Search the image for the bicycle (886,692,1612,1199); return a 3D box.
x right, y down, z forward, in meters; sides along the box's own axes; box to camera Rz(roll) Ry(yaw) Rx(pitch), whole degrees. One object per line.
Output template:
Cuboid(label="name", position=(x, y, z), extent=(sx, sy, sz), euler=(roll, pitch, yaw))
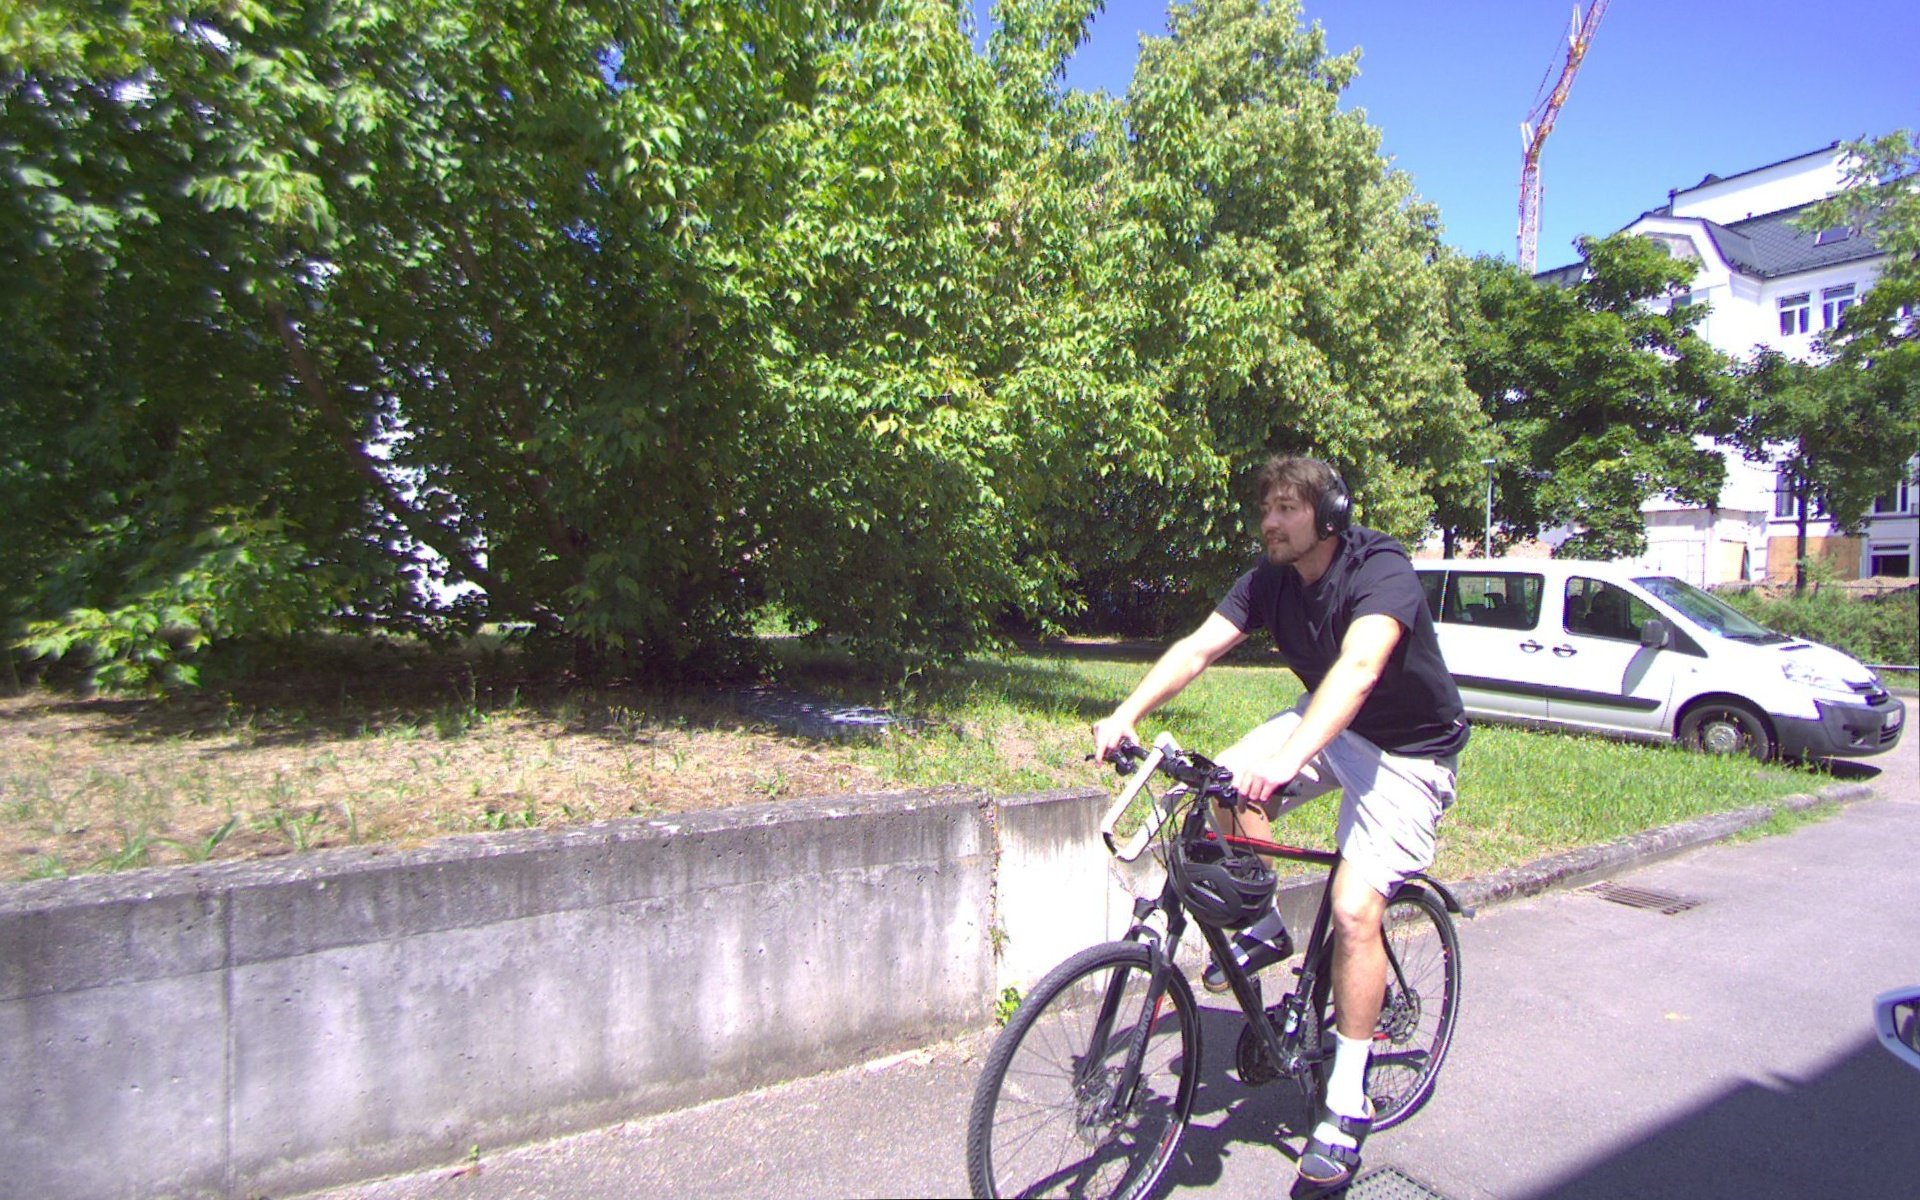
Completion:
Cuboid(label="bicycle", position=(0.799, 0.895, 2.489), extent=(1.884, 1.190, 0.640), euler=(0, 1, -33))

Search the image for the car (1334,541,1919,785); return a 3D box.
Cuboid(label="car", position=(6.593, 0.482, 10.479), extent=(1.981, 1.937, 4.754), euler=(0, 0, -36))

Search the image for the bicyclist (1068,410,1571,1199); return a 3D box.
Cuboid(label="bicyclist", position=(0.892, 0.441, 2.537), extent=(0.967, 1.631, 0.718), euler=(1, 1, -32))
